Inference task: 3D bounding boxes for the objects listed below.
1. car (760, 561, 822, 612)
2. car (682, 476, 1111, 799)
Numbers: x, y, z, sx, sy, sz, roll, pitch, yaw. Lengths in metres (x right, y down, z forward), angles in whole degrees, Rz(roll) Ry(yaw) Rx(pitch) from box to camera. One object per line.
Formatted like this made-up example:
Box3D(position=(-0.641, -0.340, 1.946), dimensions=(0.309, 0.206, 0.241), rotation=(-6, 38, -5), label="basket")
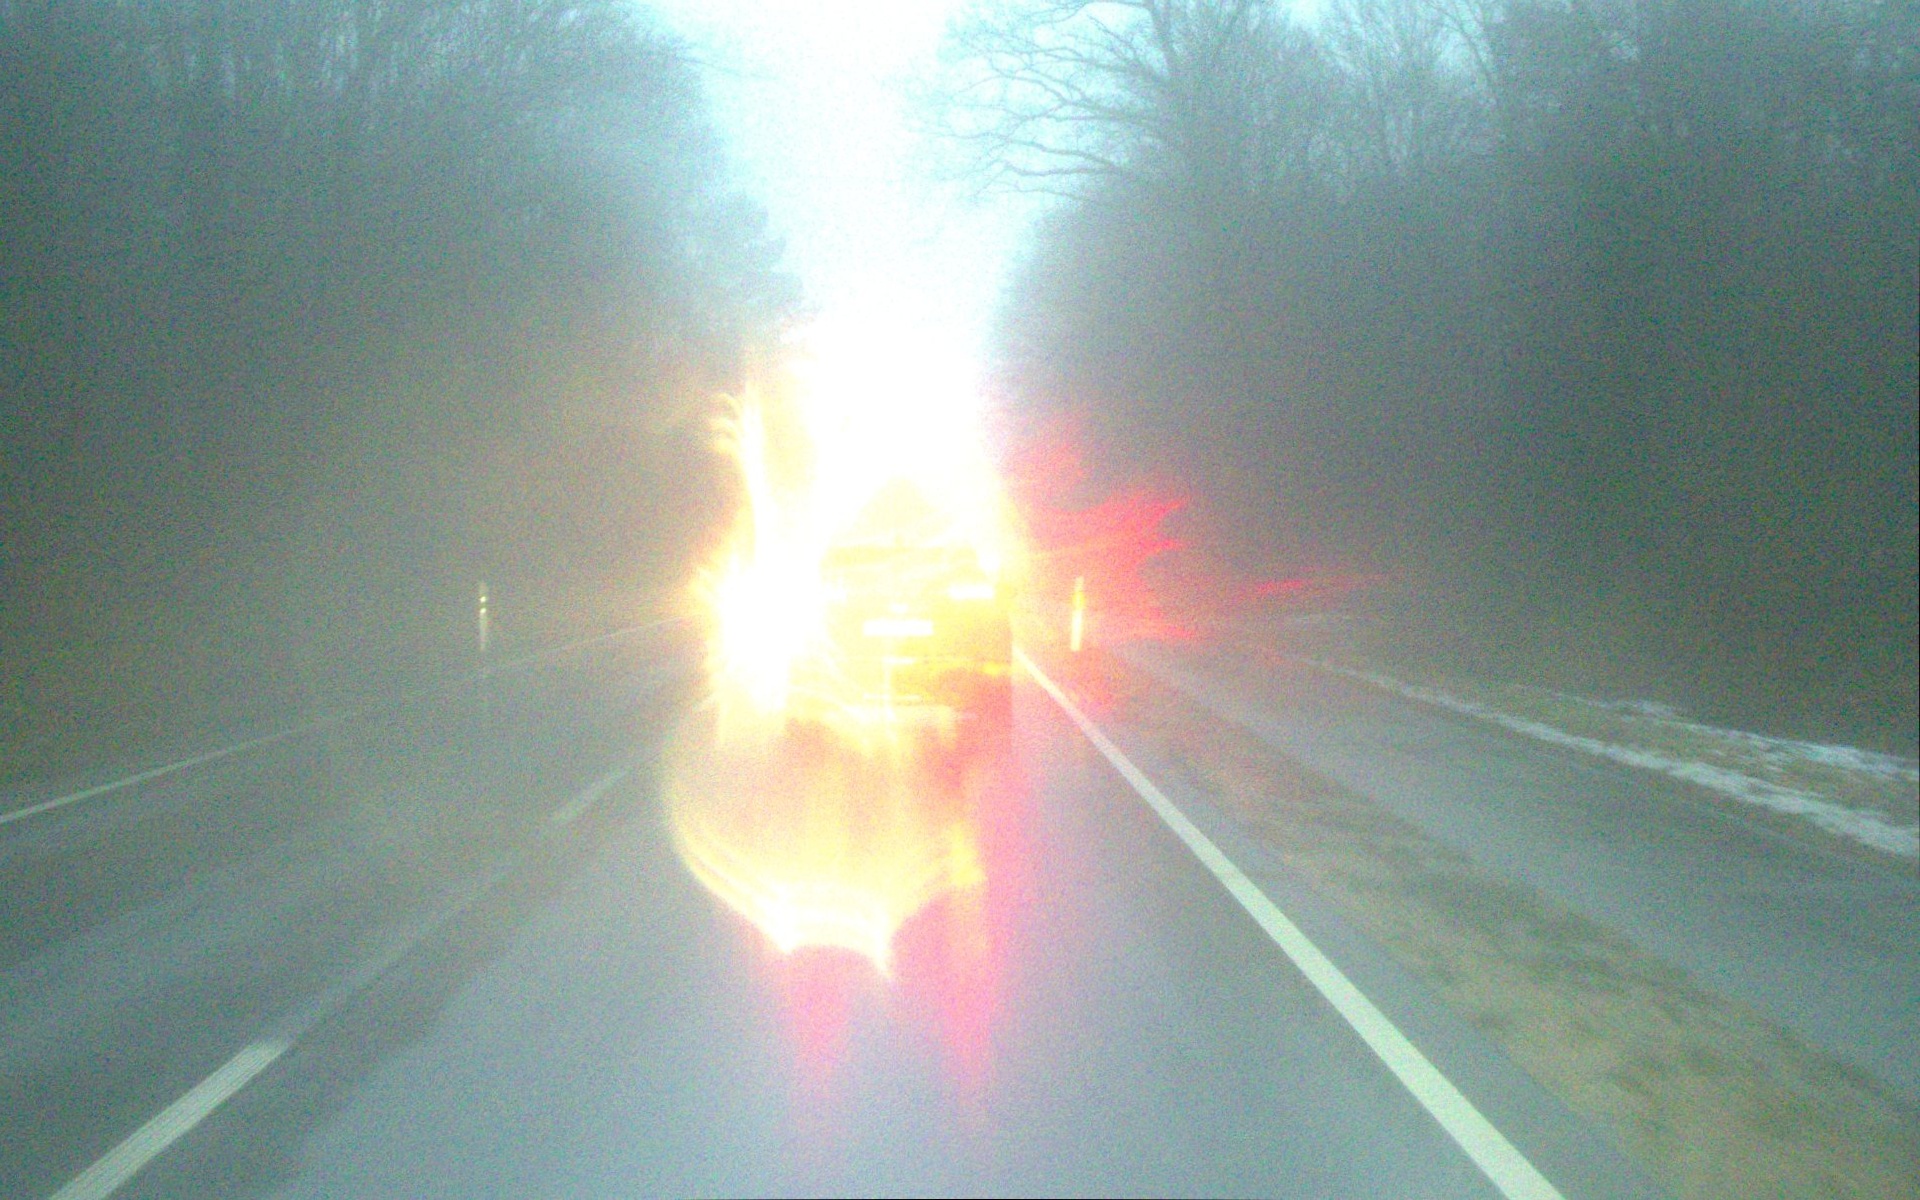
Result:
Box3D(position=(-5.085, -0.419, 103.823), dimensions=(1.691, 1.415, 4.000), rotation=(-1, 1, -1), label="car")
Box3D(position=(-0.460, 0.249, 29.073), dimensions=(3.183, 2.378, 6.636), rotation=(1, 1, 0), label="car")
